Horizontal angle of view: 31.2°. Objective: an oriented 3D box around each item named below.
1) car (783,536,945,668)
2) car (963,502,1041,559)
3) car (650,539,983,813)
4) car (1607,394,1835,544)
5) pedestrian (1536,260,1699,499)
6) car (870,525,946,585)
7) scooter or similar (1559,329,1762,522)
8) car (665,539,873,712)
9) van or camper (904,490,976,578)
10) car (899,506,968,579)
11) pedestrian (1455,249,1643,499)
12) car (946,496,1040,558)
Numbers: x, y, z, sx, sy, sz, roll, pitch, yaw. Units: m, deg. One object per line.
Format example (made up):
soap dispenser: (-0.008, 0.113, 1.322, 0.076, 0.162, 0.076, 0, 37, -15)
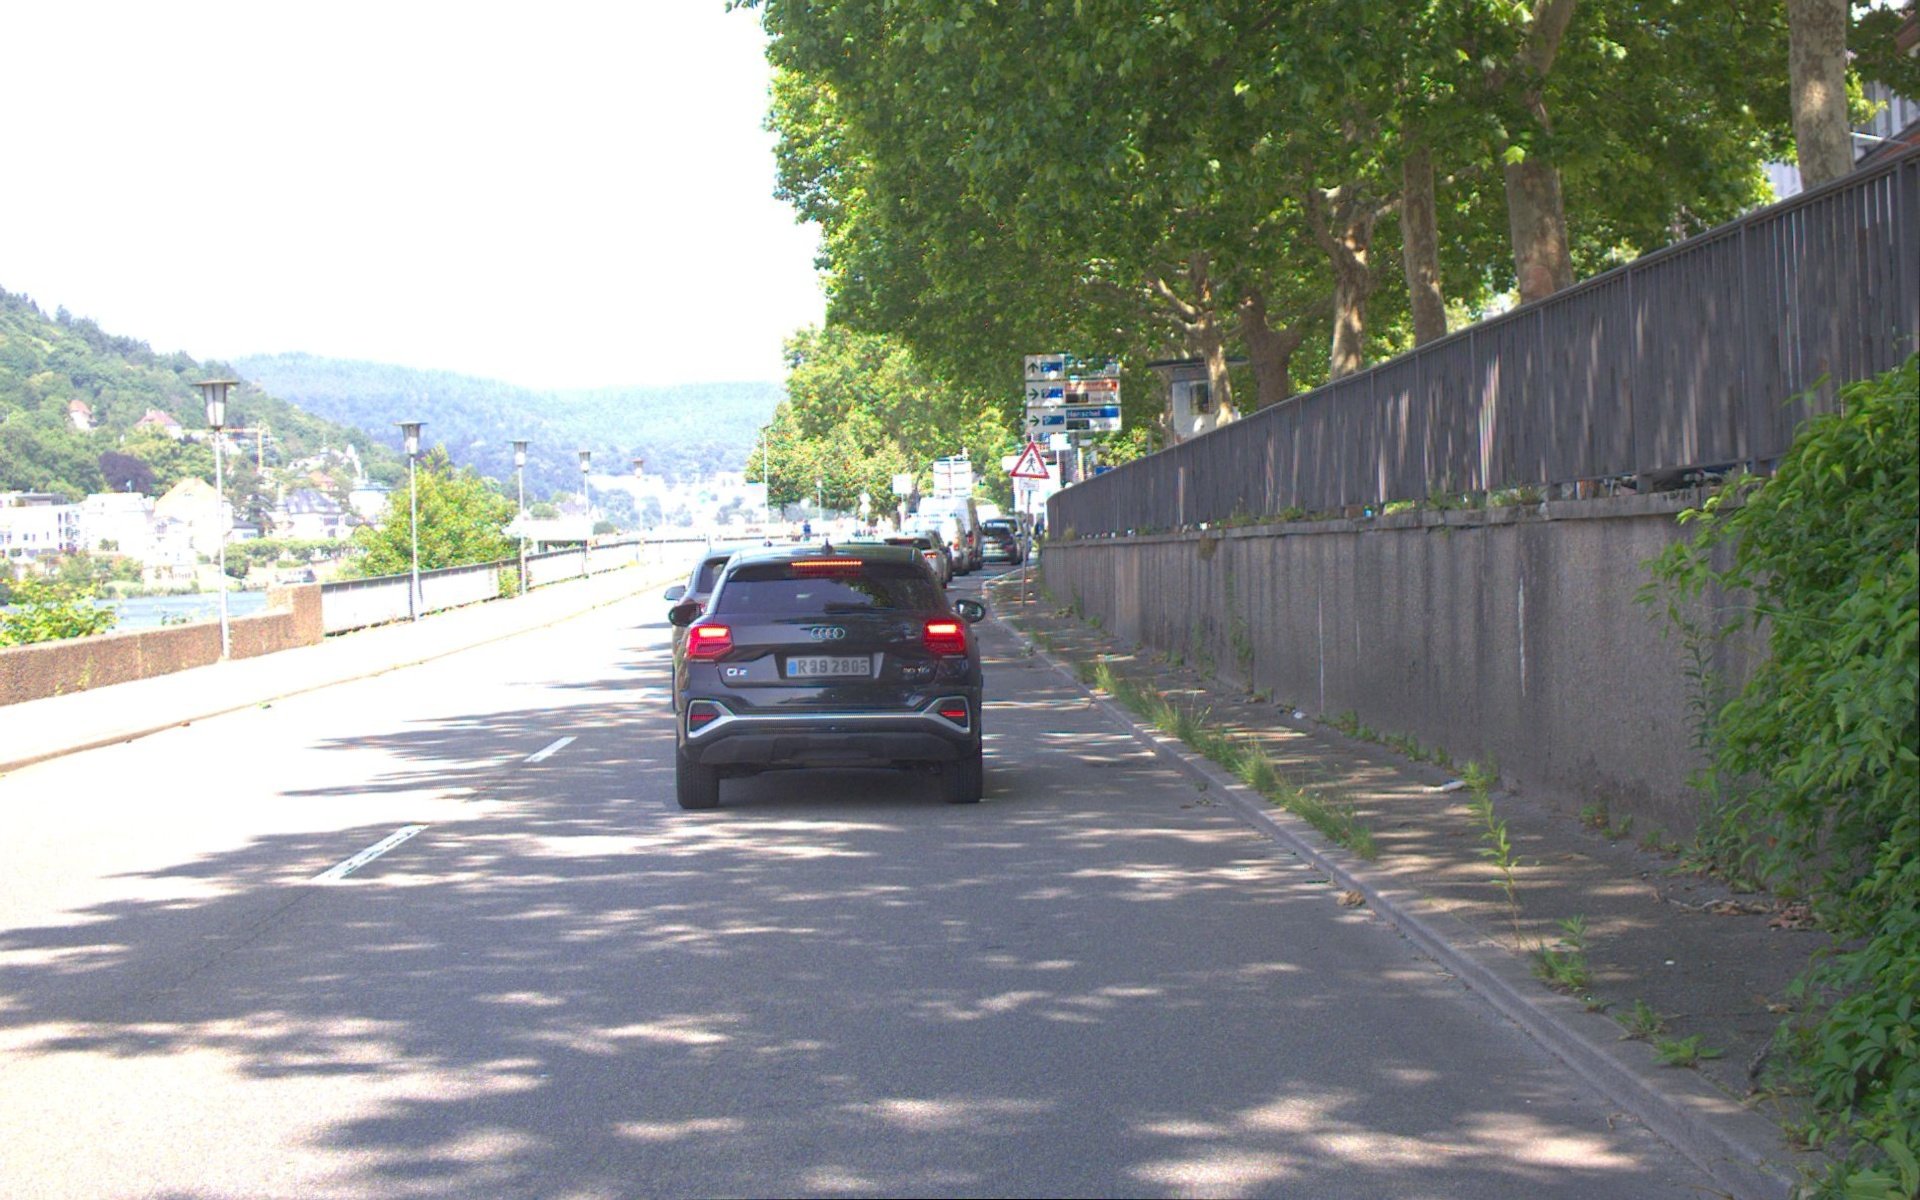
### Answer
car: (-1.164, -0.013, 41.432, 1.828, 1.481, 4.001, -1, 1, -2)
car: (1.633, -2.742, 136.502, 2.661, 2.006, 5.825, -5, 1, -2)
car: (-0.862, 0.387, 21.120, 1.828, 1.481, 4.001, -1, 1, -2)
car: (8.319, -1.392, 37.368, 1.651, 1.495, 3.813, -1, 1, 24)
pedestrian: (4.007, -1.331, 21.020, 0.680, 1.361, 0.989, -5, 1, -2)
car: (-1.329, -1.146, 86.308, 1.828, 1.439, 4.001, -1, 1, -2)
scooter or similar: (4.088, -1.007, 20.133, 0.855, 1.023, 1.107, -5, 1, -2)
car: (-1.773, 0.191, 32.680, 1.828, 1.506, 4.001, -1, 1, -2)
van or camper: (-0.658, -2.248, 116.831, 2.310, 2.837, 4.246, -2, 1, 0)
car: (-0.848, -1.800, 107.740, 1.993, 2.162, 4.000, -2, 1, -2)
pedestrian: (3.981, -1.517, 23.317, 0.936, 1.574, 1.028, -5, 1, -3)
car: (1.186, -2.692, 127.083, 3.098, 2.006, 5.825, -5, 1, -2)
